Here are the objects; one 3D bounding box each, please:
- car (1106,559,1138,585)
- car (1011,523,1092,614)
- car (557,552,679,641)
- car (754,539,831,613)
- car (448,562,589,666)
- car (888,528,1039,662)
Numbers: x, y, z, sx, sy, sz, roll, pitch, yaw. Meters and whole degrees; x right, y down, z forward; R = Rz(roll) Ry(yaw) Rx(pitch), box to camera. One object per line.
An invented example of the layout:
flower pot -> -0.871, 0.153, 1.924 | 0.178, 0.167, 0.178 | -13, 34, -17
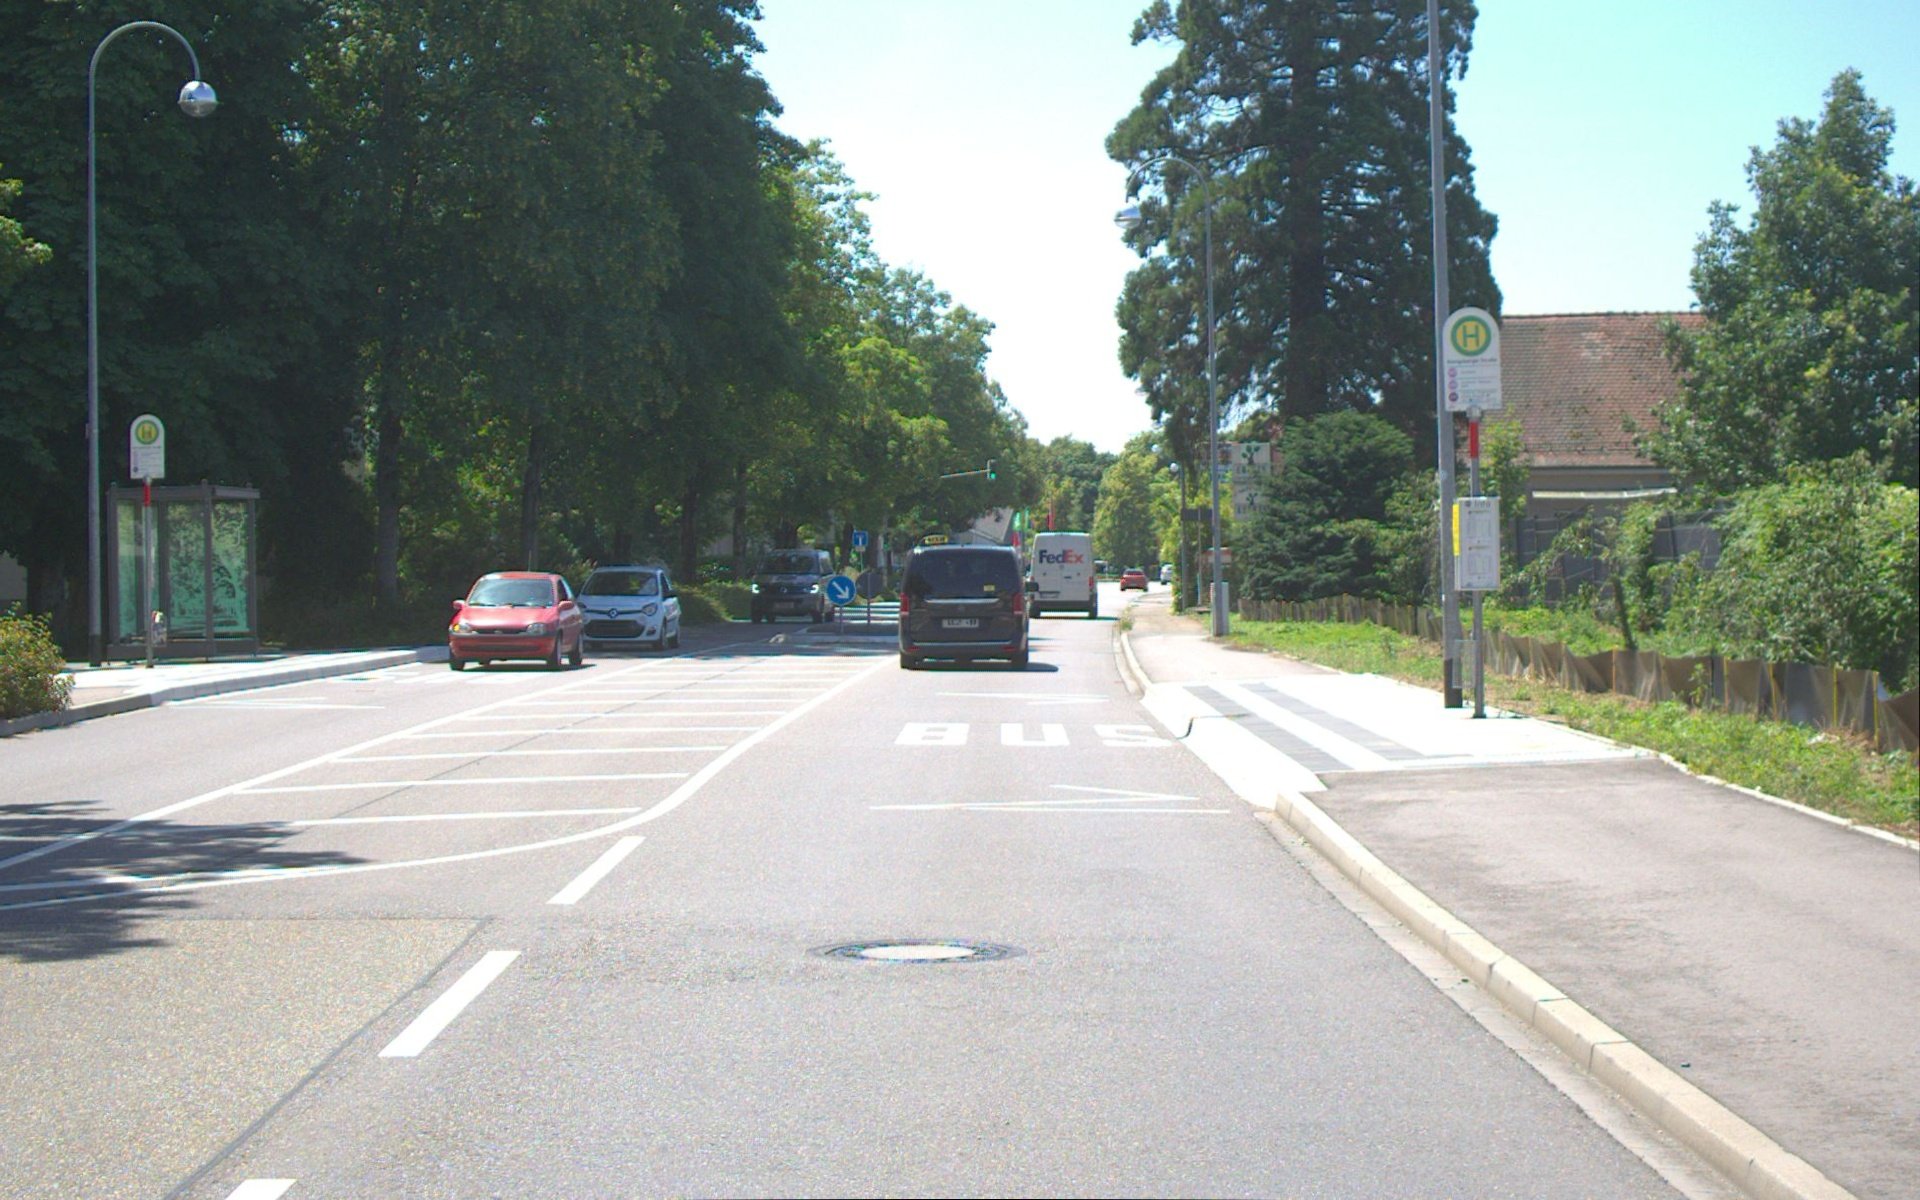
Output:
car -> 10.661, -1.855, 226.411 | 1.857, 1.637, 4.000 | 1, 1, -1
car -> 2.752, -0.997, 104.627 | 2.120, 2.668, 5.663 | 1, 1, -2
car -> -5.996, -0.093, 60.594 | 1.691, 1.455, 3.640 | 1, 1, 1
car -> -4.504, -0.671, 92.278 | 1.993, 1.903, 4.992 | 1, 1, -3
car -> -6.461, 0.185, 50.613 | 1.550, 1.445, 3.691 | 1, 0, 0
car -> 0.013, -0.114, 51.626 | 1.993, 1.886, 4.001 | 1, 1, -3
